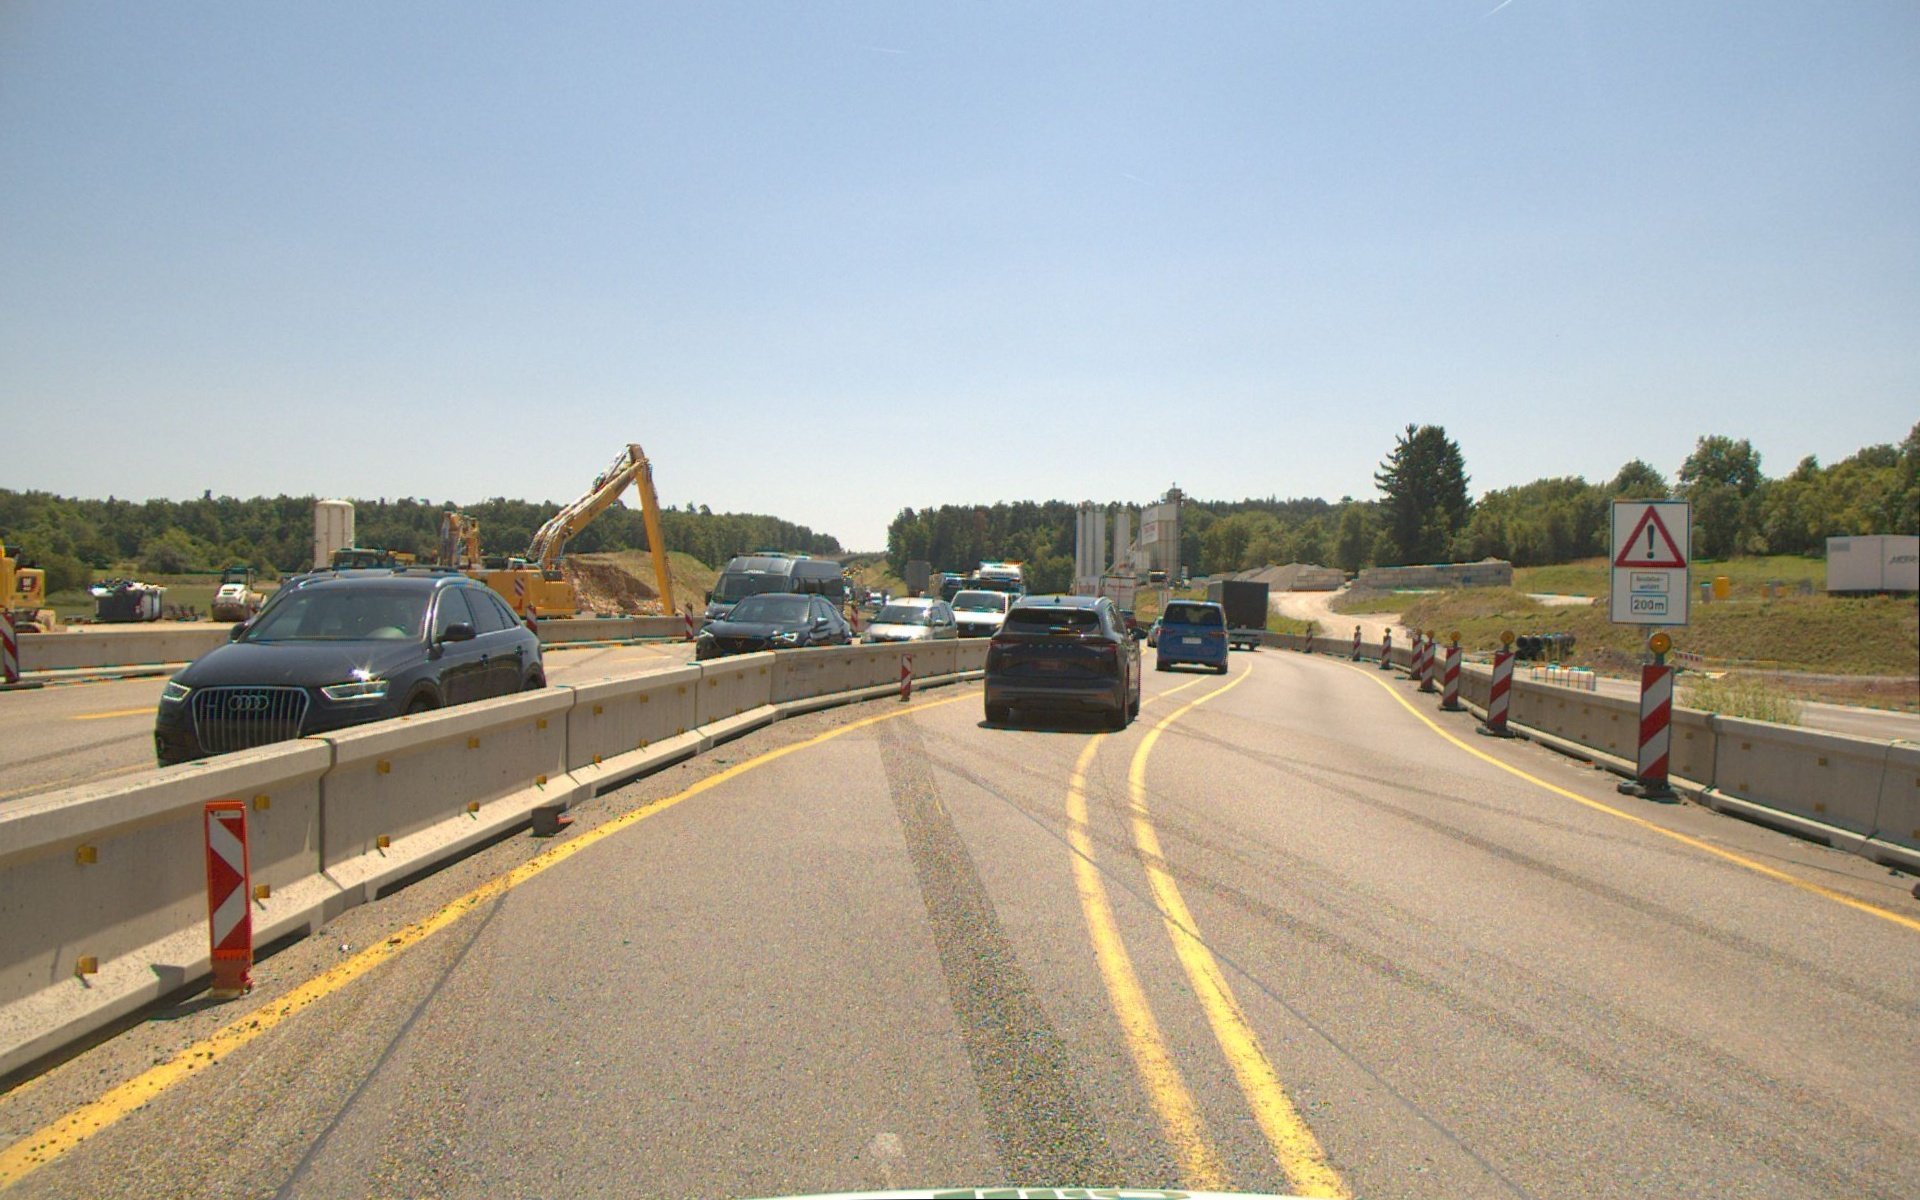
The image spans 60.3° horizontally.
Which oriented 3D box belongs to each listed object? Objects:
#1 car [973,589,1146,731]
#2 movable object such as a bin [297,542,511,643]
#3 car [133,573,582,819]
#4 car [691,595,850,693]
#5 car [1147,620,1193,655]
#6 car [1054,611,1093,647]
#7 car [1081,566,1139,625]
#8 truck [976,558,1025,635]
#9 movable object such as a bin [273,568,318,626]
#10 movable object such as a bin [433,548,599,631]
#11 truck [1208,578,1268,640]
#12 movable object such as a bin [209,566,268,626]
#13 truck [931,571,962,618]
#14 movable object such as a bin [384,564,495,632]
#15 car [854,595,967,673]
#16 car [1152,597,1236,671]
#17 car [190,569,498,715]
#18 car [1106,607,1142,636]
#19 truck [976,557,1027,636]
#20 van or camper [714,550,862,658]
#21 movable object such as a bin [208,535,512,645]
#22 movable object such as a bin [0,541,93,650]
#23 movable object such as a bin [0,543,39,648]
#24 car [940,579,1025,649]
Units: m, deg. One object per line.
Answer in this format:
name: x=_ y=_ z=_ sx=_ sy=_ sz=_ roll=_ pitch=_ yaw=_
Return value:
car: x=1.401 y=0.720 z=21.762 sx=1.803 sy=1.609 sz=4.003 roll=3 pitch=0 yaw=9
movable object such as a bin: x=-17.684 y=-0.262 z=52.657 sx=5.926 sy=2.811 sz=2.812 roll=3 pitch=0 yaw=20
car: x=-4.583 y=0.640 z=13.440 sx=1.731 sy=1.635 sz=4.712 roll=-1 pitch=0 yaw=3
car: x=-3.099 y=0.675 z=27.977 sx=1.653 sy=1.507 sz=4.474 roll=-1 pitch=0 yaw=7
car: x=9.926 y=1.769 z=78.440 sx=2.002 sy=1.553 sz=5.069 roll=0 pitch=0 yaw=6
car: x=5.053 y=1.267 z=73.499 sx=1.621 sy=1.478 sz=4.251 roll=2 pitch=0 yaw=5
car: x=11.582 y=-0.359 z=128.623 sx=3.367 sy=4.171 sz=9.196 roll=4 pitch=0 yaw=0
truck: x=2.409 y=-0.218 z=100.577 sx=2.716 sy=4.352 sz=11.781 roll=1 pitch=0 yaw=1
movable object such as a bin: x=-39.139 y=-0.219 z=97.497 sx=1.963 sy=3.180 sz=3.738 roll=4 pitch=0 yaw=-18
movable object such as a bin: x=-15.040 y=-0.327 z=56.471 sx=3.222 sy=2.482 sz=5.444 roll=4 pitch=0 yaw=12
truck: x=13.807 y=0.414 z=82.540 sx=2.616 sy=2.997 sz=5.624 roll=0 pitch=0 yaw=6
movable object such as a bin: x=-41.992 y=-0.280 z=96.348 sx=2.384 sy=3.180 sz=5.455 roll=4 pitch=0 yaw=-18
truck: x=-1.329 y=-0.546 z=155.561 sx=2.716 sy=4.210 sz=10.868 roll=1 pitch=0 yaw=-1
movable object such as a bin: x=-24.601 y=-0.153 z=78.463 sx=3.589 sy=3.078 sz=4.994 roll=0 pitch=2 yaw=1
car: x=-1.090 y=0.751 z=38.621 sx=1.719 sy=1.644 sz=4.232 roll=2 pitch=0 yaw=11
car: x=6.499 y=0.898 z=45.662 sx=1.951 sy=1.876 sz=4.003 roll=2 pitch=0 yaw=12
car: x=-8.309 y=0.520 z=22.837 sx=1.737 sy=1.796 sz=4.714 roll=-1 pitch=0 yaw=11
car: x=10.273 y=1.337 z=103.706 sx=1.784 sy=1.673 sz=3.865 roll=2 pitch=0 yaw=0
truck: x=2.353 y=-0.198 z=94.850 sx=2.714 sy=4.334 sz=6.199 roll=1 pitch=0 yaw=1
van or camper: x=-4.340 y=0.107 z=43.015 sx=2.054 sy=2.586 sz=6.310 roll=0 pitch=0 yaw=11
movable object such as a bin: x=-16.603 y=-0.286 z=45.700 sx=7.759 sy=2.474 sz=3.711 roll=4 pitch=0 yaw=30
movable object such as a bin: x=-31.371 y=-0.256 z=53.433 sx=3.718 sy=3.312 sz=5.555 roll=3 pitch=0 yaw=-1
movable object such as a bin: x=-27.198 y=-0.215 z=44.903 sx=3.304 sy=2.774 sz=2.862 roll=3 pitch=0 yaw=43
car: x=0.718 y=0.407 z=48.700 sx=1.833 sy=1.905 sz=5.062 roll=1 pitch=0 yaw=8
